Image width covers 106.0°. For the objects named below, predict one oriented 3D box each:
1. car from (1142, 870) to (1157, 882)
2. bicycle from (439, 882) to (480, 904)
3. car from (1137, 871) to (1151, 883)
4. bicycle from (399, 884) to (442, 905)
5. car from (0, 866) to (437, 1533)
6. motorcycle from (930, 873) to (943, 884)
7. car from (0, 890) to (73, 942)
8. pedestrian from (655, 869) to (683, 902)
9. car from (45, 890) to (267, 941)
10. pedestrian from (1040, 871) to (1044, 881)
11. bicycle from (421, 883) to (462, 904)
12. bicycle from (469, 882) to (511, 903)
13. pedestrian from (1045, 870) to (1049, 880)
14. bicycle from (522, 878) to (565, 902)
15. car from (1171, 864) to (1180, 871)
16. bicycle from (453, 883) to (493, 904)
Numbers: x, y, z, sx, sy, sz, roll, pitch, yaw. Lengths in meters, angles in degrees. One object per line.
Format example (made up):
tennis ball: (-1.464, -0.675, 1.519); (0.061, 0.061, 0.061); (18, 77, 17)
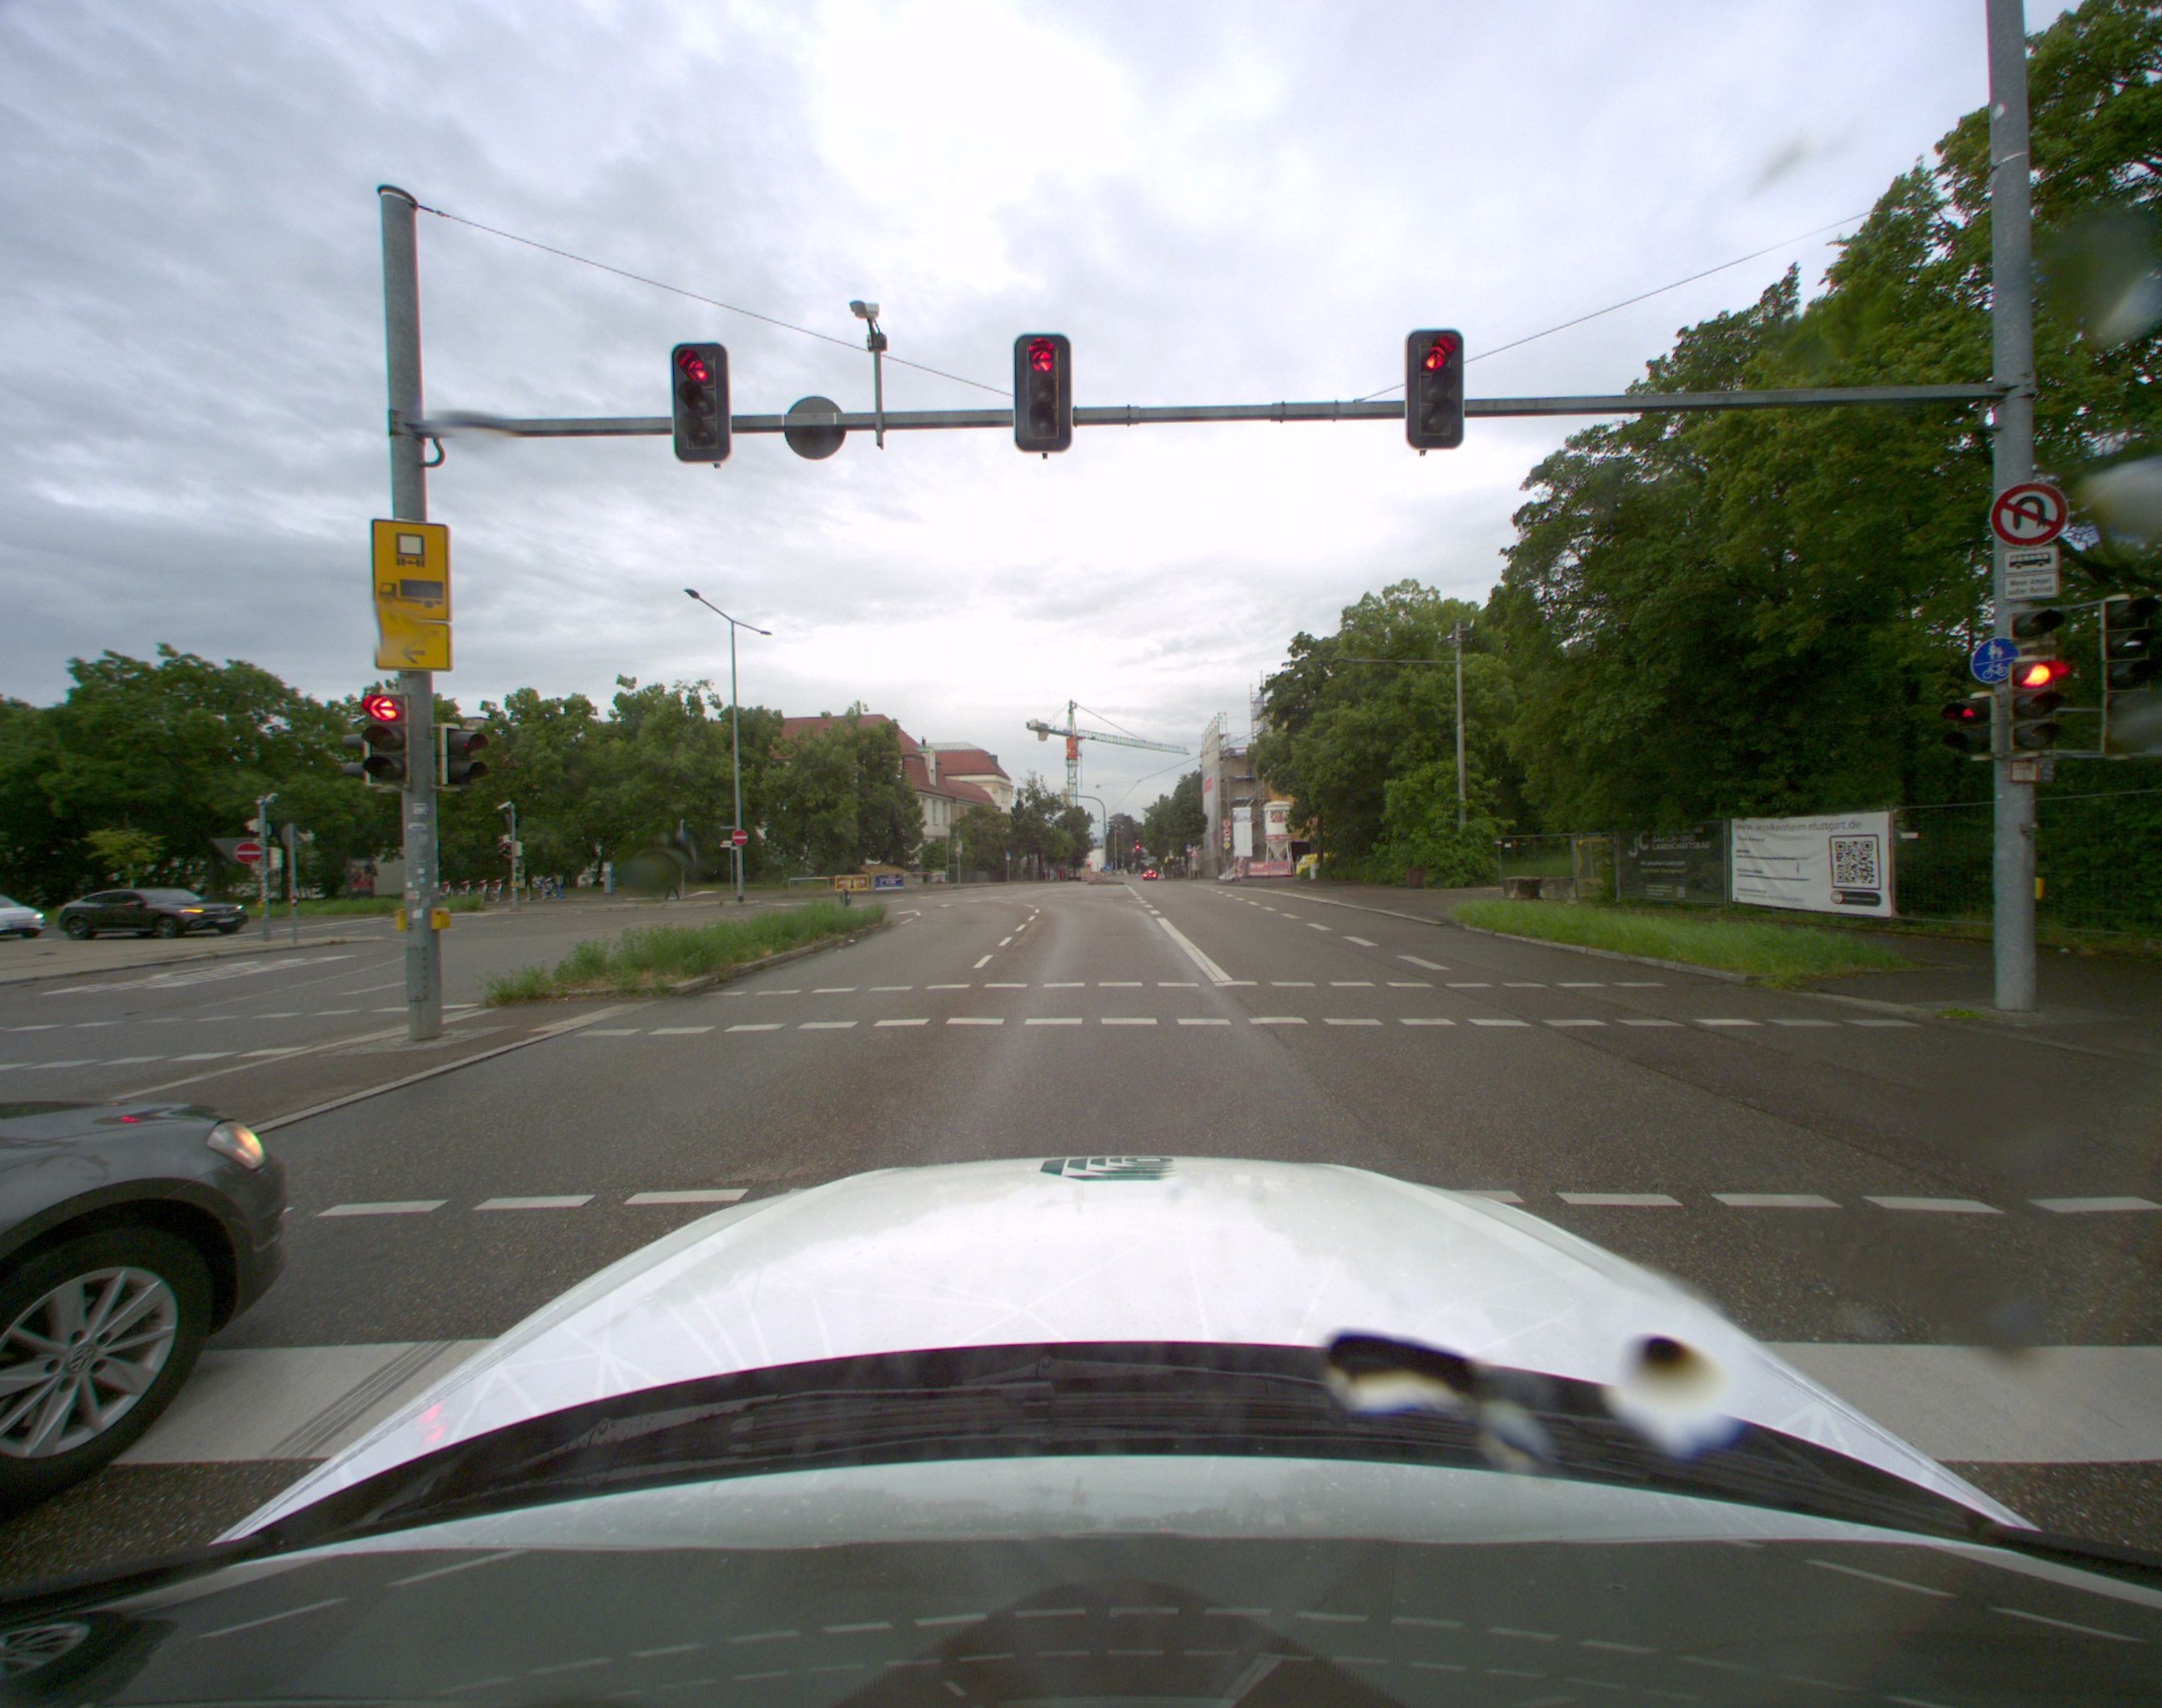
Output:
car: (10.524, 3.375, 124.854); (1.986, 1.750, 4.001); (-2, 0, 1)
bicycle: (-33.914, 2.118, 44.461); (0.649, 1.071, 1.982); (0, -1, 2)
car: (10.215, 3.665, 131.917); (1.986, 1.750, 4.001); (-2, 0, 1)
bicycle: (-35.970, 2.181, 44.377); (0.649, 1.071, 1.982); (0, -1, 2)
car: (-3.378, 0.804, 0.844); (1.809, 1.481, 4.378); (-2, 0, 2)
motorcycle: (-11.584, 1.982, 65.231); (0.846, 0.877, 0.877); (0, -1, 1)
car: (-36.501, 2.039, 27.061); (3.539, 1.594, 2.001); (0, -1, 1)
pedestrian: (-21.872, 1.667, 43.267); (0.917, 1.727, 0.948); (-1, -1, 8)
car: (-30.080, 1.987, 26.597); (5.006, 1.500, 2.001); (0, -1, 1)
pedestrian: (-5.589, 3.186, 117.830); (0.473, 1.396, 0.411); (-2, -1, 1)
bicycle: (-34.993, 2.145, 44.592); (0.649, 1.071, 1.982); (0, -1, 2)
bicycle: (-32.275, 2.070, 44.518); (0.798, 1.071, 1.982); (0, -1, 2)
pedestrian: (-4.889, 3.007, 117.663); (0.473, 1.396, 0.411); (-2, -1, 1)
bicycle: (-29.441, 1.950, 44.627); (0.987, 1.249, 1.982); (0, -1, 2)
car: (25.458, 3.508, 218.962); (1.980, 1.750, 4.014); (-2, 0, 13)
bicycle: (-33.024, 2.121, 44.286); (0.649, 1.071, 1.982); (0, -1, 2)
